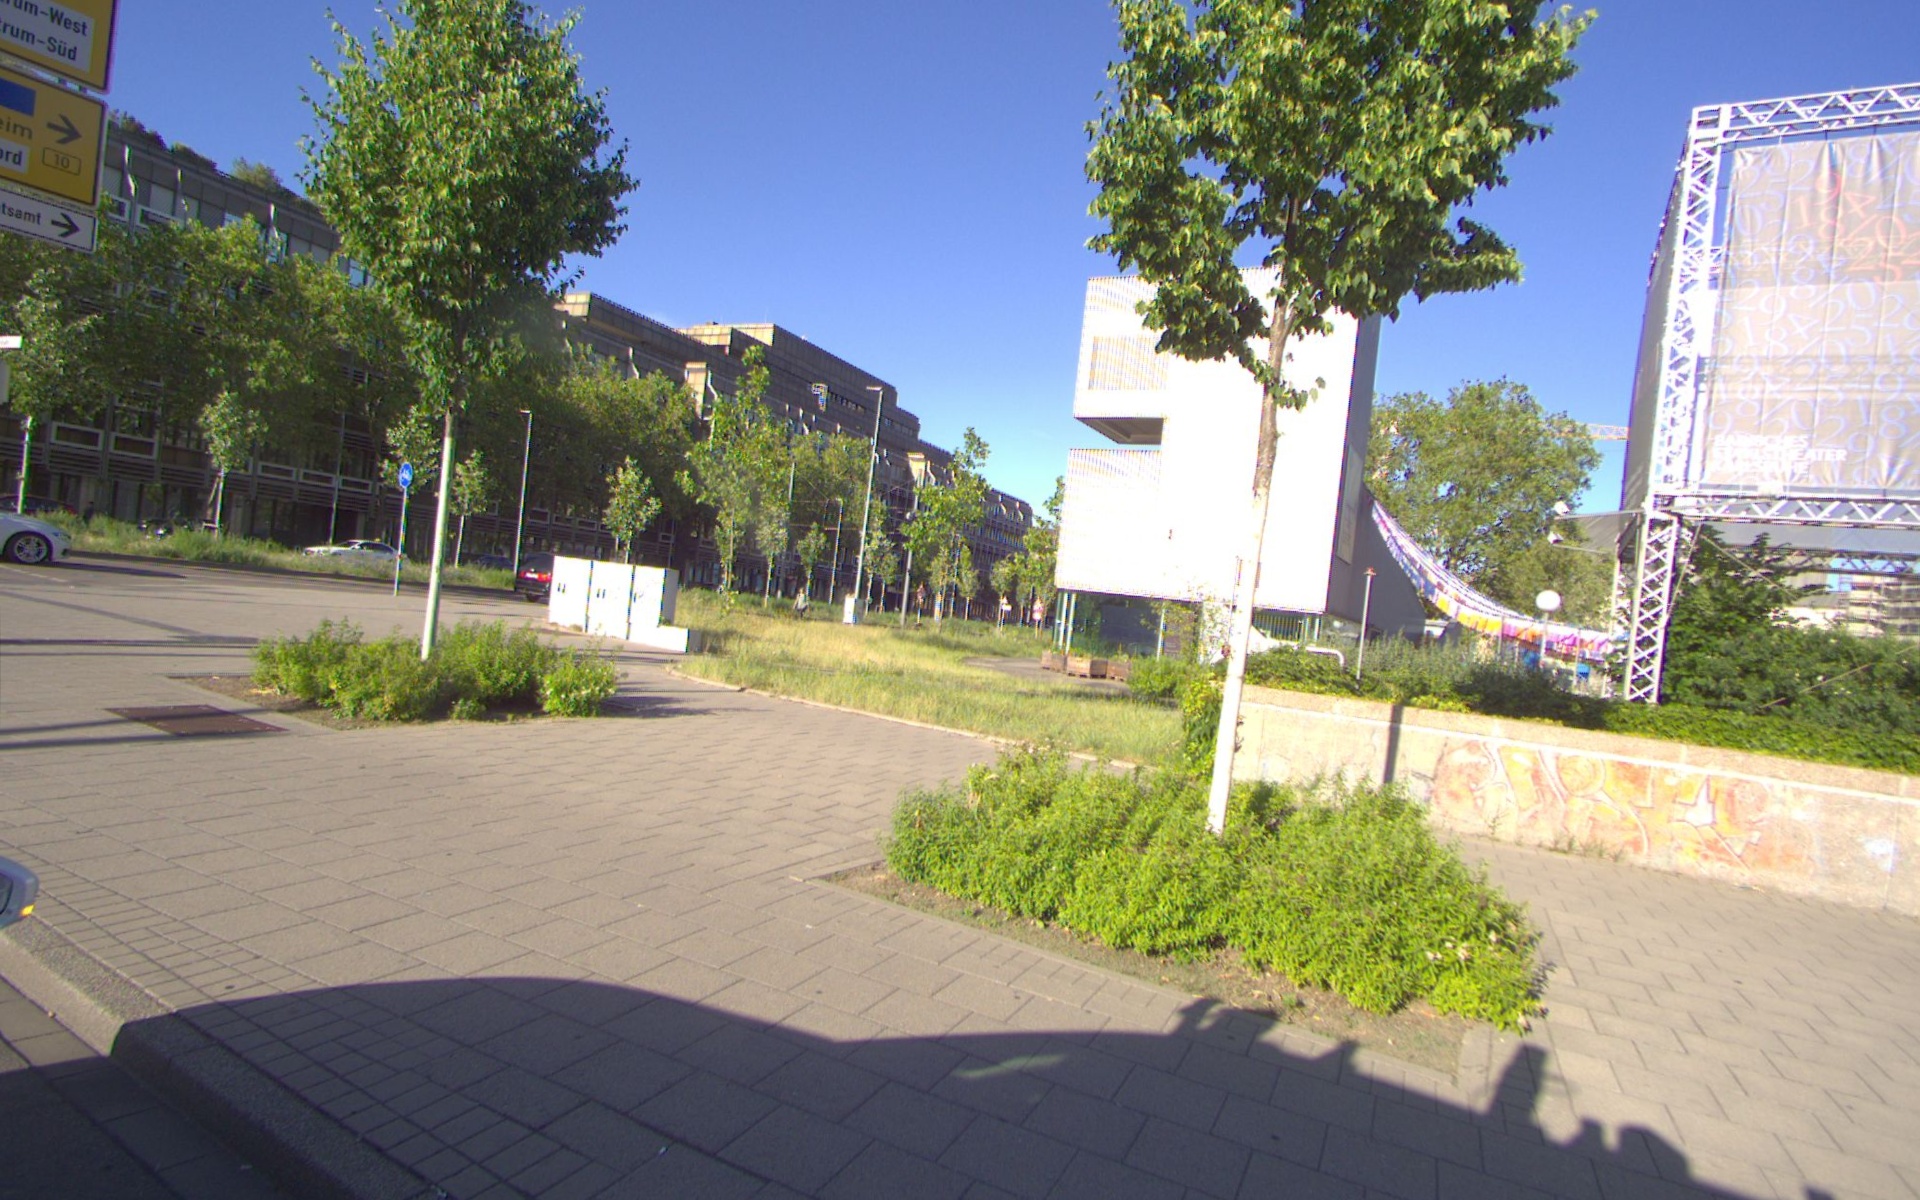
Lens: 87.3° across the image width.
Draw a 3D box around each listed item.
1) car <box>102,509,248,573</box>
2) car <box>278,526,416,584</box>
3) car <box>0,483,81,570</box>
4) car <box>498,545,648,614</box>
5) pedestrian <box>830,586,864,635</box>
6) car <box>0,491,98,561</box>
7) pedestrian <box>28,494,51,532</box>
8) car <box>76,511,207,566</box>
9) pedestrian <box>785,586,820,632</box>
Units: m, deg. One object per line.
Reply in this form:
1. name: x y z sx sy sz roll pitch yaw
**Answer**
1. car: -34.115 -2.532 43.882 1.965 2.036 4.458 7 -2 27
2. car: -30.679 -2.185 50.585 2.062 2.036 5.455 6 -2 29
3. car: -20.081 -1.668 19.130 1.969 1.546 4.688 7 -1 36
4. car: -12.890 -0.624 33.839 1.964 1.779 4.485 7 -1 24
5. pedestrian: -4.281 0.408 38.123 0.925 1.750 0.695 7 1 18
6. car: -33.317 -2.714 35.374 1.966 2.037 3.997 6 -2 29
7. pedestrian: -42.866 -4.062 46.864 0.528 1.690 0.541 7 1 29
8. car: -36.951 -2.758 45.515 1.965 1.770 3.998 6 -2 28
9. pedestrian: -6.118 0.348 39.062 0.925 1.650 0.803 7 1 18
